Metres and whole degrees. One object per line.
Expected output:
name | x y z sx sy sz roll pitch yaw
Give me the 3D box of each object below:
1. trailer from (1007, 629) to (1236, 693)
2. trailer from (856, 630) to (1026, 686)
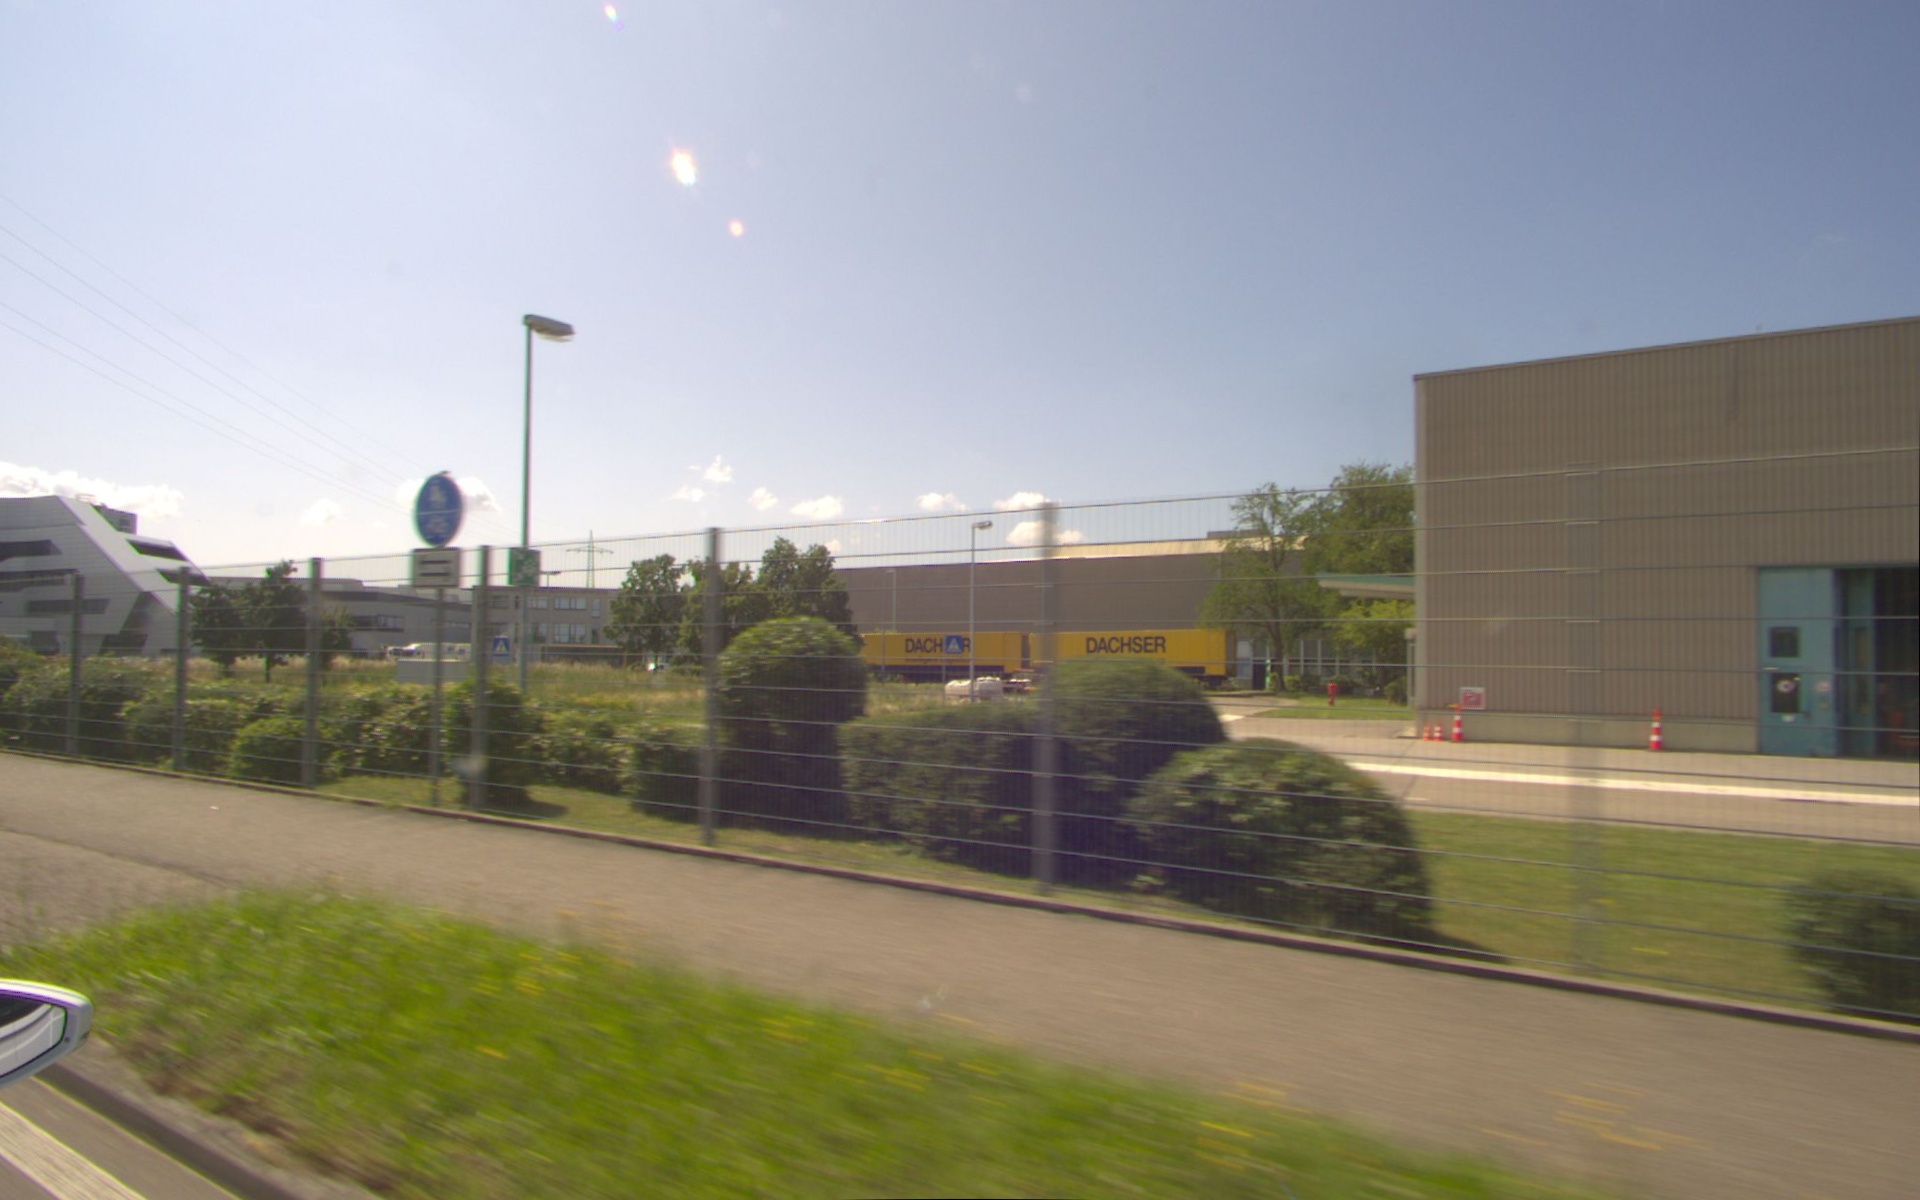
trailer | 10.419 3.936 66.146 14.833 3.888 2.934 -1 -4 30
trailer | -1.507 4.156 72.846 12.558 3.812 2.917 -1 -4 29
